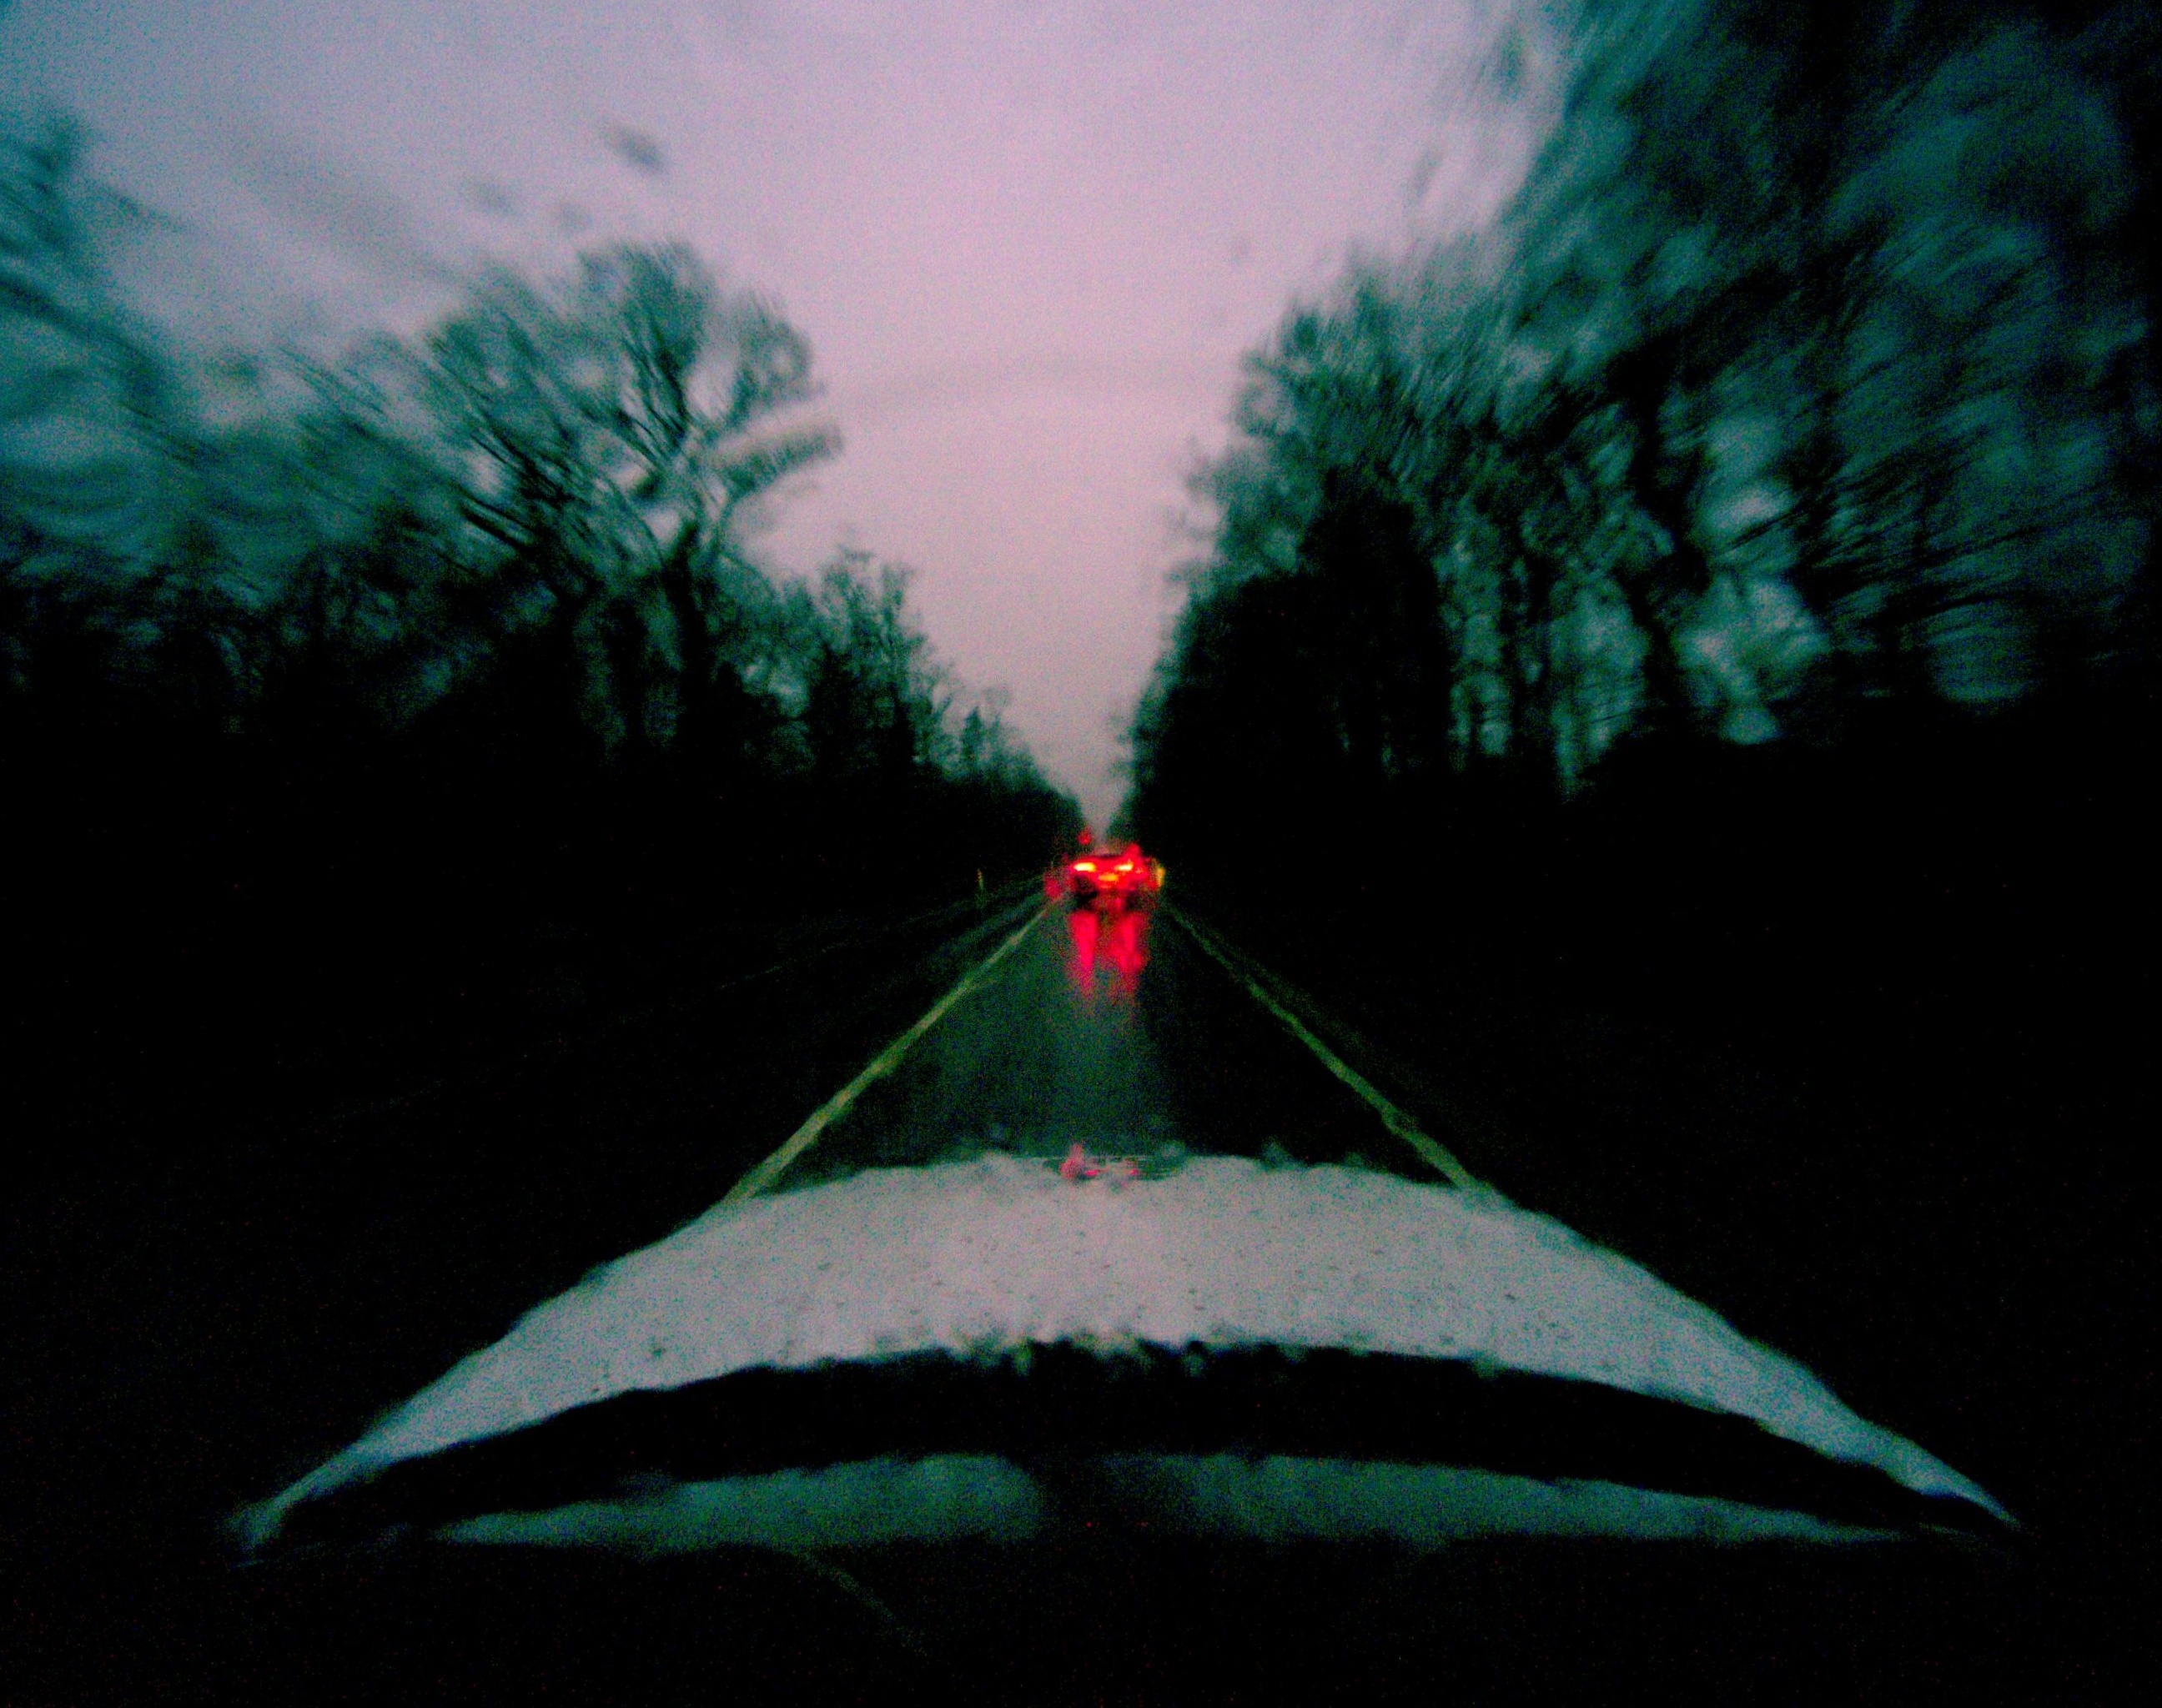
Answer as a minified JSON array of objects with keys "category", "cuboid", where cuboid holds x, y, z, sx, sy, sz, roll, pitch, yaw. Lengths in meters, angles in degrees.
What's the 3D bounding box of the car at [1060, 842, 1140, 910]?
[{"category":"car","cuboid":[0.588,0.603,25.017,2.190,1.877,4.828,-1,0,1]}]
